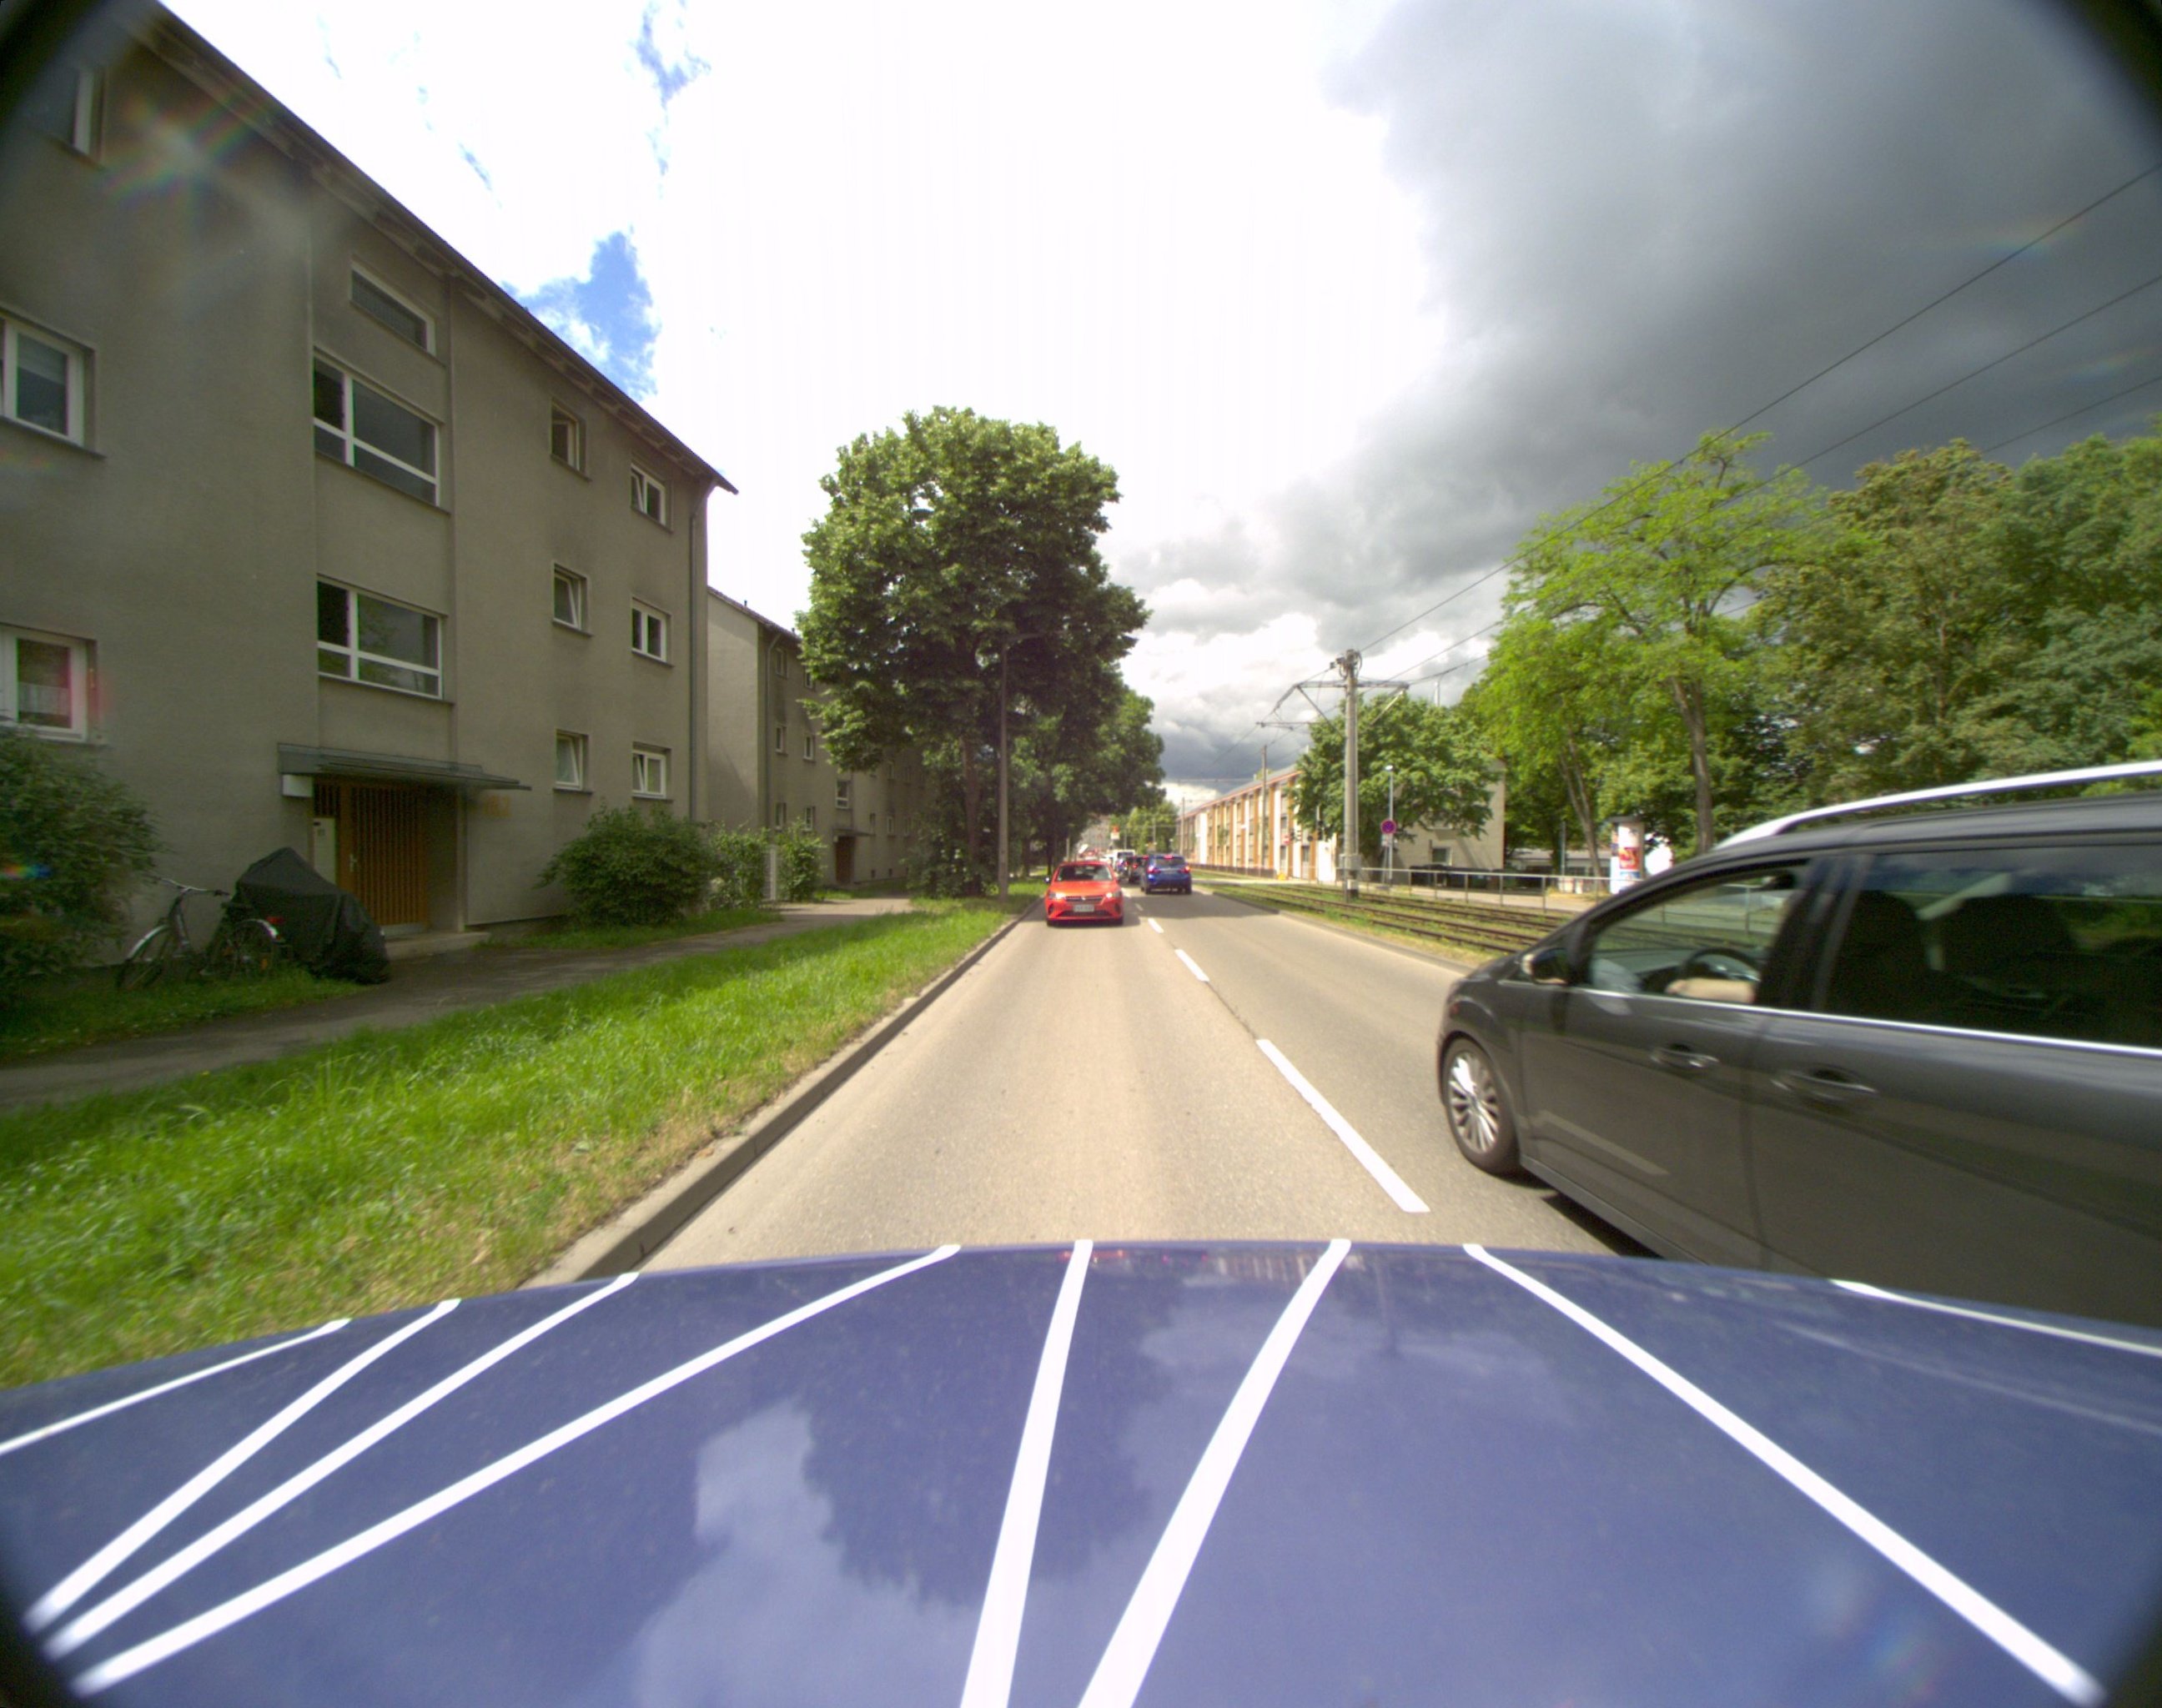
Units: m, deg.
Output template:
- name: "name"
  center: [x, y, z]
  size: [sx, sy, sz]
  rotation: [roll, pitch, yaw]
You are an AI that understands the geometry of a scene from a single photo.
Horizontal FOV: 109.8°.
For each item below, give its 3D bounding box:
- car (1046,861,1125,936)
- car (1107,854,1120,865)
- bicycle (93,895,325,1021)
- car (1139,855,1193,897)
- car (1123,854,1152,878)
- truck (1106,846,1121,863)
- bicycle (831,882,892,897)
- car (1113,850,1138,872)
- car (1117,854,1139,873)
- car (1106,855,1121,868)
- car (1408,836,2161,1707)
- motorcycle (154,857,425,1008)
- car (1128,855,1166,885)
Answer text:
- name: "car"
  center: [0.120, 0.960, 18.034]
  size: [1.666, 1.513, 3.786]
  rotation: [-1, 0, 1]
- name: "car"
  center: [4.563, 0.738, 107.526]
  size: [1.666, 1.512, 3.786]
  rotation: [-2, 0, 1]
- name: "bicycle"
  center: [-8.101, 0.946, 7.078]
  size: [1.801, 1.078, 0.455]
  rotation: [0, 1, 6]
- name: "car"
  center: [3.370, 0.838, 30.798]
  size: [1.717, 1.557, 4.166]
  rotation: [-2, 0, 0]
- name: "car"
  center: [3.784, 0.806, 51.301]
  size: [1.641, 1.524, 3.275]
  rotation: [-2, 0, 0]
- name: "truck"
  center: [5.435, 0.112, 126.580]
  size: [2.096, 2.723, 5.096]
  rotation: [-2, 1, -2]
- name: "bicycle"
  center: [-8.486, 1.389, 29.381]
  size: [2.208, 0.505, 0.673]
  rotation: [-1, 1, 12]
- name: "car"
  center: [4.046, 0.616, 70.258]
  size: [1.999, 1.984, 4.786]
  rotation: [-1, 0, 0]
- name: "car"
  center: [3.829, 0.724, 62.318]
  size: [1.585, 1.477, 3.806]
  rotation: [-2, 0, 0]
- name: "car"
  center: [3.952, 0.887, 91.649]
  size: [1.666, 1.512, 3.679]
  rotation: [-2, 0, 1]
- name: "car"
  center: [2.623, 0.803, 1.923]
  size: [1.712, 1.666, 4.227]
  rotation: [-2, 0, -1]
- name: "motorcycle"
  center: [-8.156, 0.747, 7.883]
  size: [2.000, 1.421, 1.018]
  rotation: [0, 1, 11]
- name: "car"
  center: [3.599, 0.851, 41.916]
  size: [1.721, 1.535, 4.000]
  rotation: [-2, 0, 0]
